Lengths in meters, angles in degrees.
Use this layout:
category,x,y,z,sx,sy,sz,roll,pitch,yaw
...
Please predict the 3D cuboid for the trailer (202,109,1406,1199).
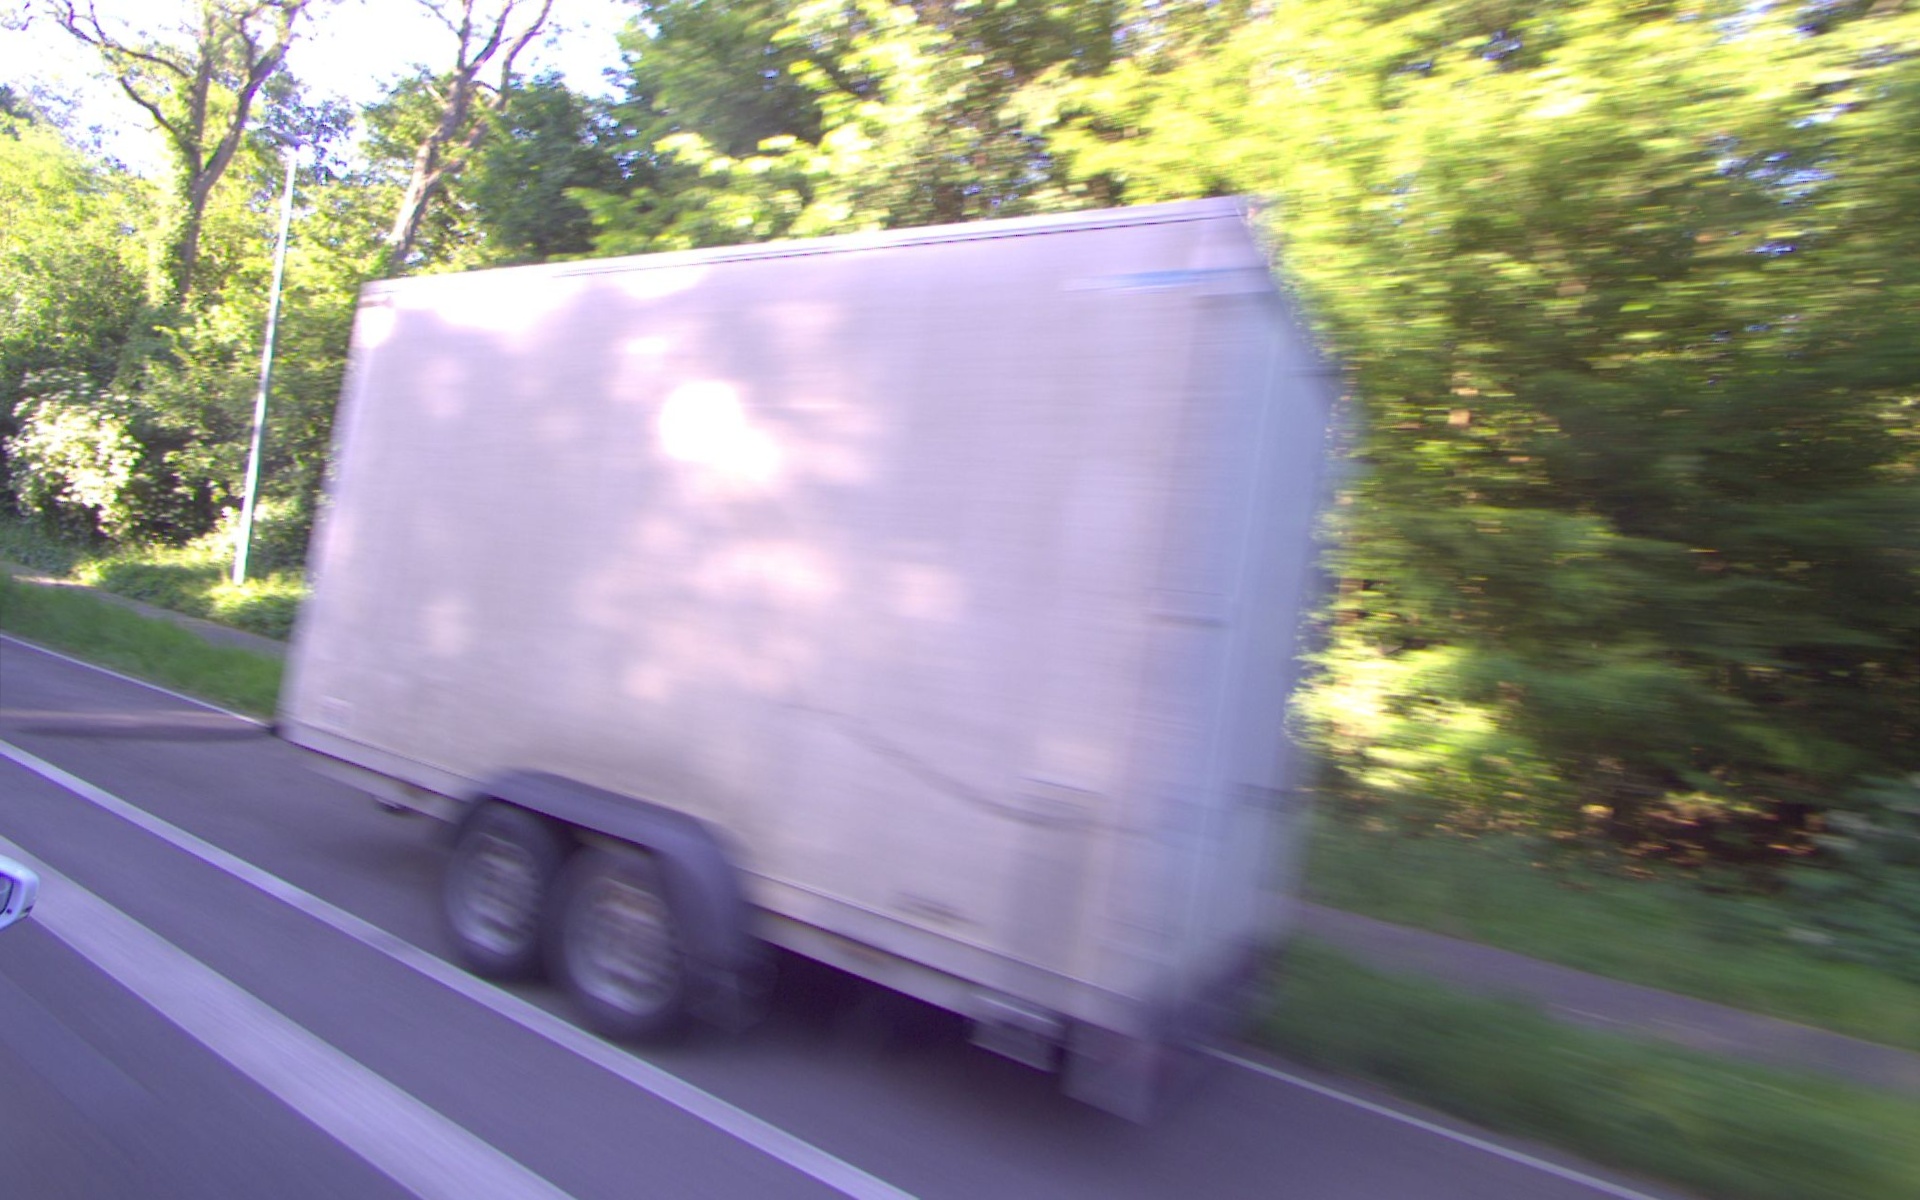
category,x,y,z,sx,sy,sz,roll,pitch,yaw
trailer,-0.971,0.096,4.780,5.121,2.877,2.277,7,-2,32
